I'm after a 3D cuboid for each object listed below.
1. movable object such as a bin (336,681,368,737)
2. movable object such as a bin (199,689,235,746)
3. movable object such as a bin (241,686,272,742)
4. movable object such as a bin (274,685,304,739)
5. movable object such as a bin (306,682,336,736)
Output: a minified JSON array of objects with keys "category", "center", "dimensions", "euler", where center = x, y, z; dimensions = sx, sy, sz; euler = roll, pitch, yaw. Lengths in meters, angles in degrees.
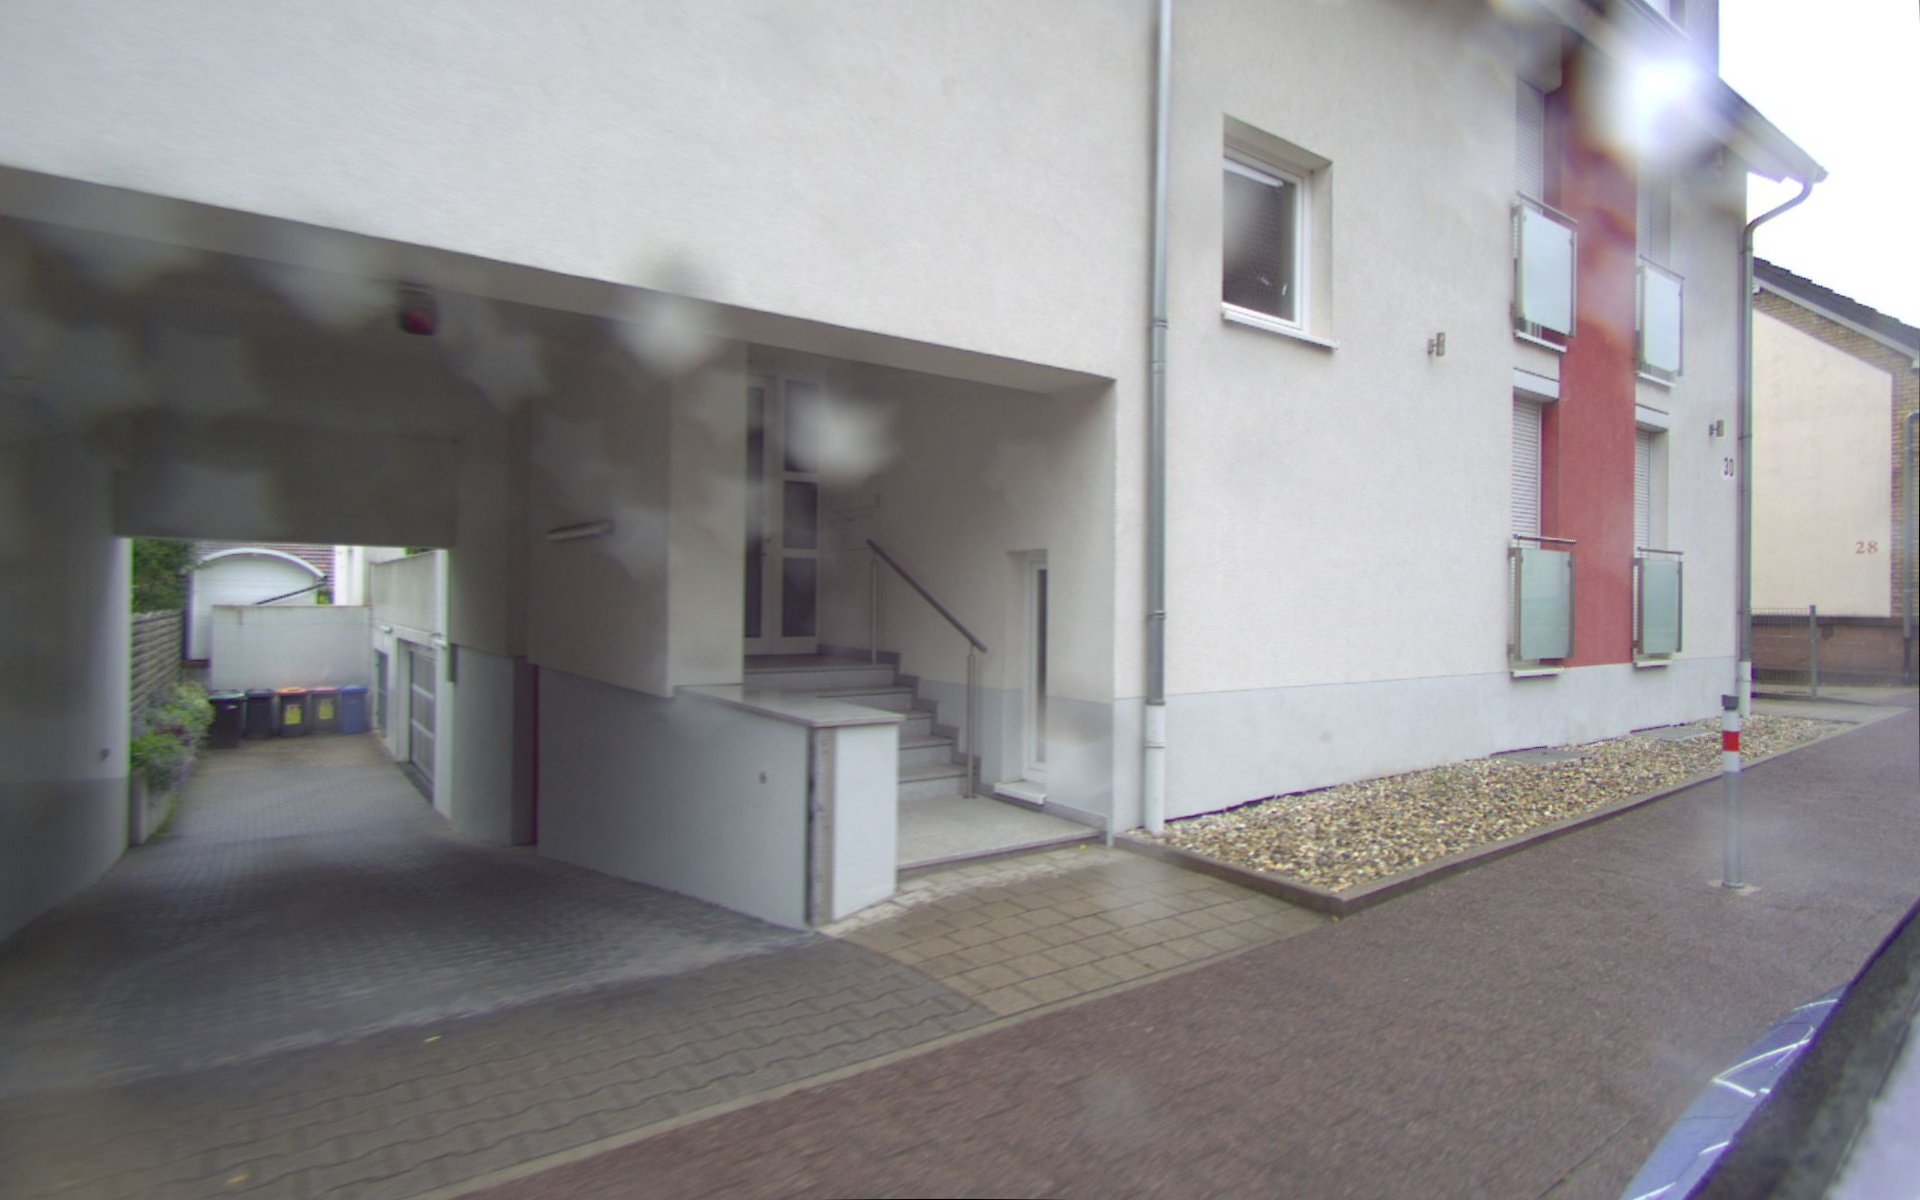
[{"category":"movable object such as a bin","center":[-13.652,2.437,22.722],"dimensions":[0.574,1.199,0.487],"euler":[0,-4,-36]},{"category":"movable object such as a bin","center":[-15.554,2.449,21.189],"dimensions":[0.586,1.114,0.487],"euler":[0,-4,-36]},{"category":"movable object such as a bin","center":[-15.047,2.434,21.640],"dimensions":[0.522,1.132,0.487],"euler":[0,-4,-36]},{"category":"movable object such as a bin","center":[-14.602,2.428,22.018],"dimensions":[0.522,1.132,0.487],"euler":[0,-4,-36]},{"category":"movable object such as a bin","center":[-14.143,2.397,22.396],"dimensions":[0.522,1.132,0.487],"euler":[0,-4,-36]}]
